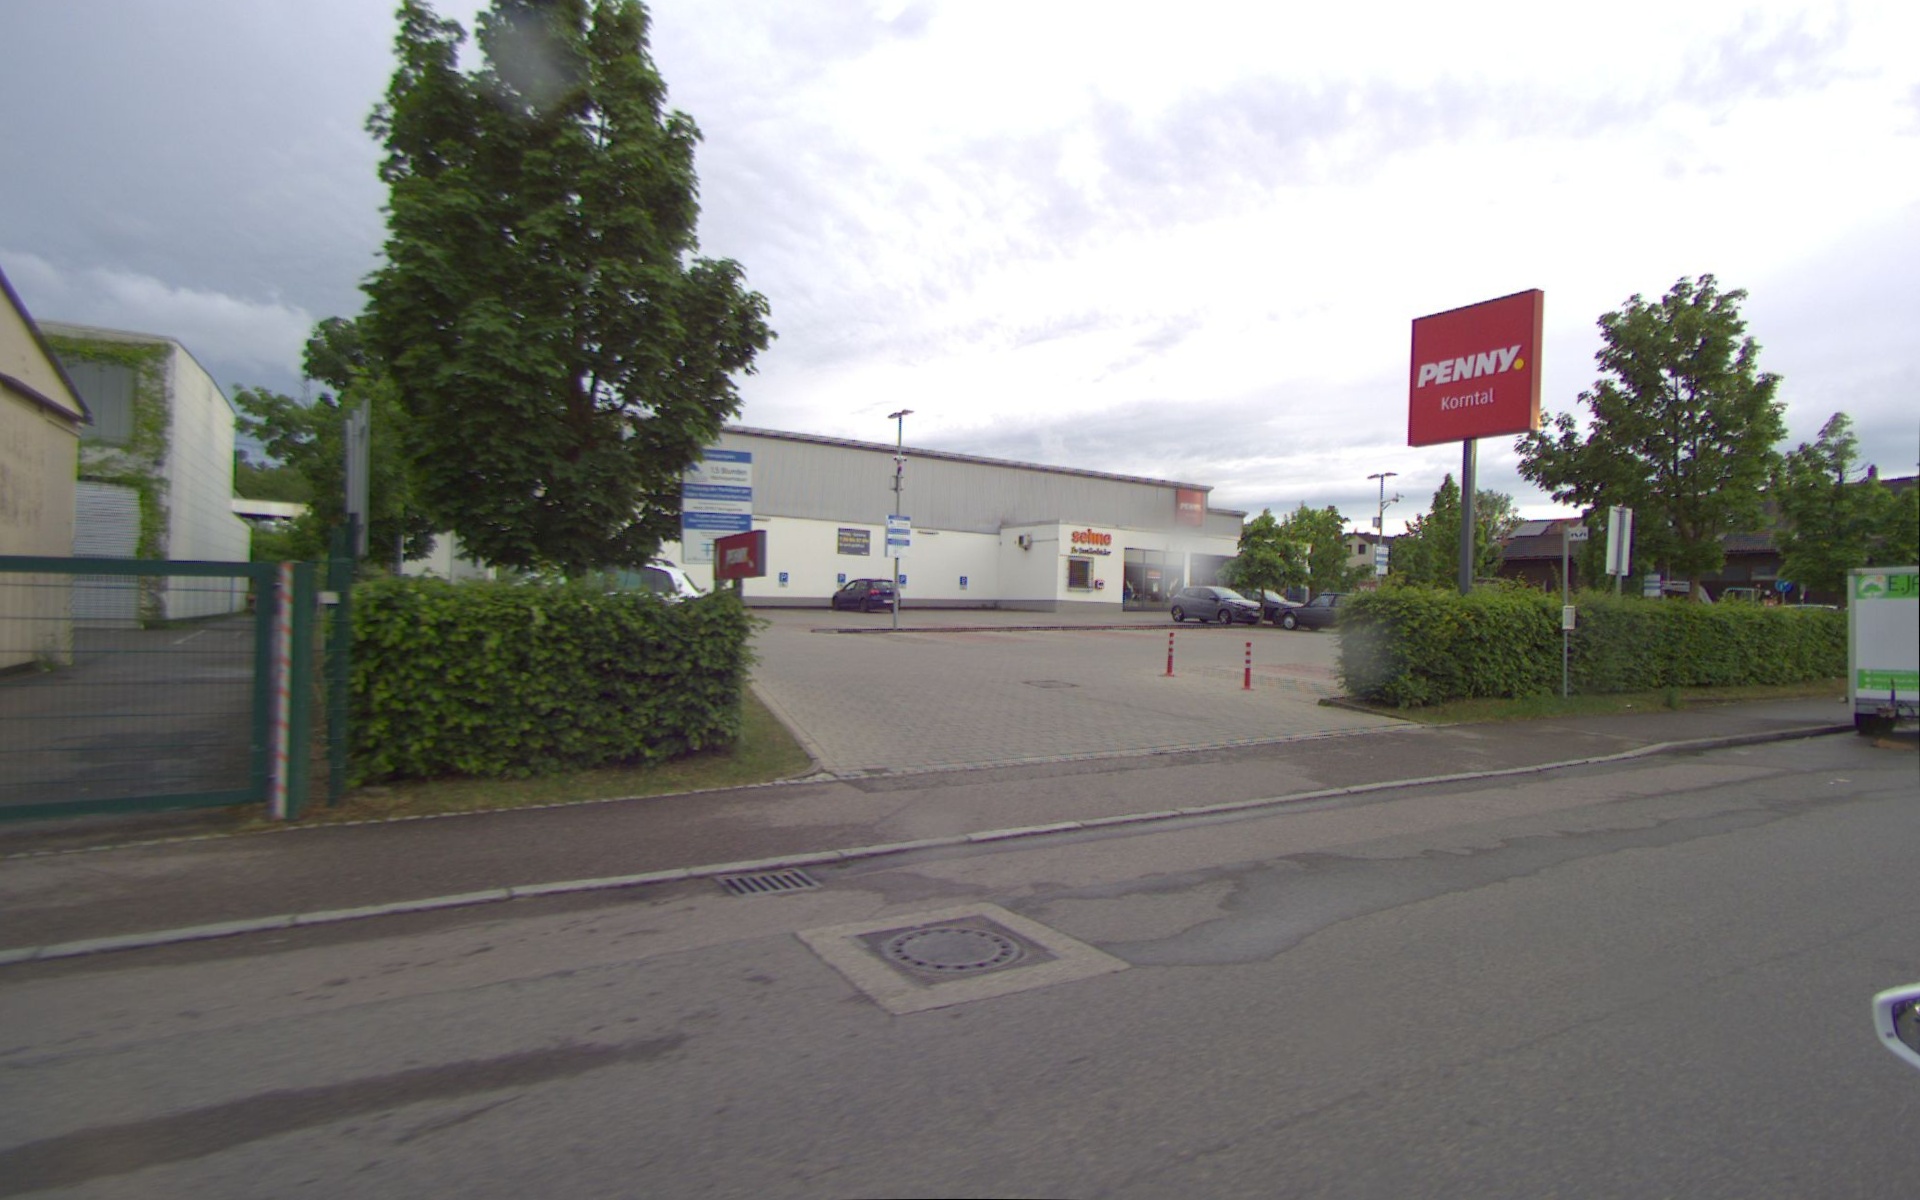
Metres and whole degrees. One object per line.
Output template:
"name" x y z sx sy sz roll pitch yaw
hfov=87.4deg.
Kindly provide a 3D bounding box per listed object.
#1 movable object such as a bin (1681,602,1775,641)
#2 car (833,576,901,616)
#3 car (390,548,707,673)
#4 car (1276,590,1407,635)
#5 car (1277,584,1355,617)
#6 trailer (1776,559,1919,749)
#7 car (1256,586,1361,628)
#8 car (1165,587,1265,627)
"movable object such as a bin" 39.415 1.087 51.595 1.981 1.783 3.397 2 1 -36
"car" -4.178 -0.210 44.615 1.640 1.628 3.708 2 1 -29
"car" -5.968 0.176 14.788 4.010 1.608 1.632 2 0 -38
"car" 13.304 0.411 35.215 1.785 1.406 3.950 2 1 -35
"car" 26.146 0.013 73.928 1.956 2.269 5.190 2 1 -35
"trailer" 13.553 0.729 14.091 4.677 2.344 1.803 1 -2 -32
"car" 15.127 0.290 43.736 1.756 1.628 3.957 2 1 -37
"car" 10.151 0.245 40.201 1.441 1.516 3.860 0 1 -36
